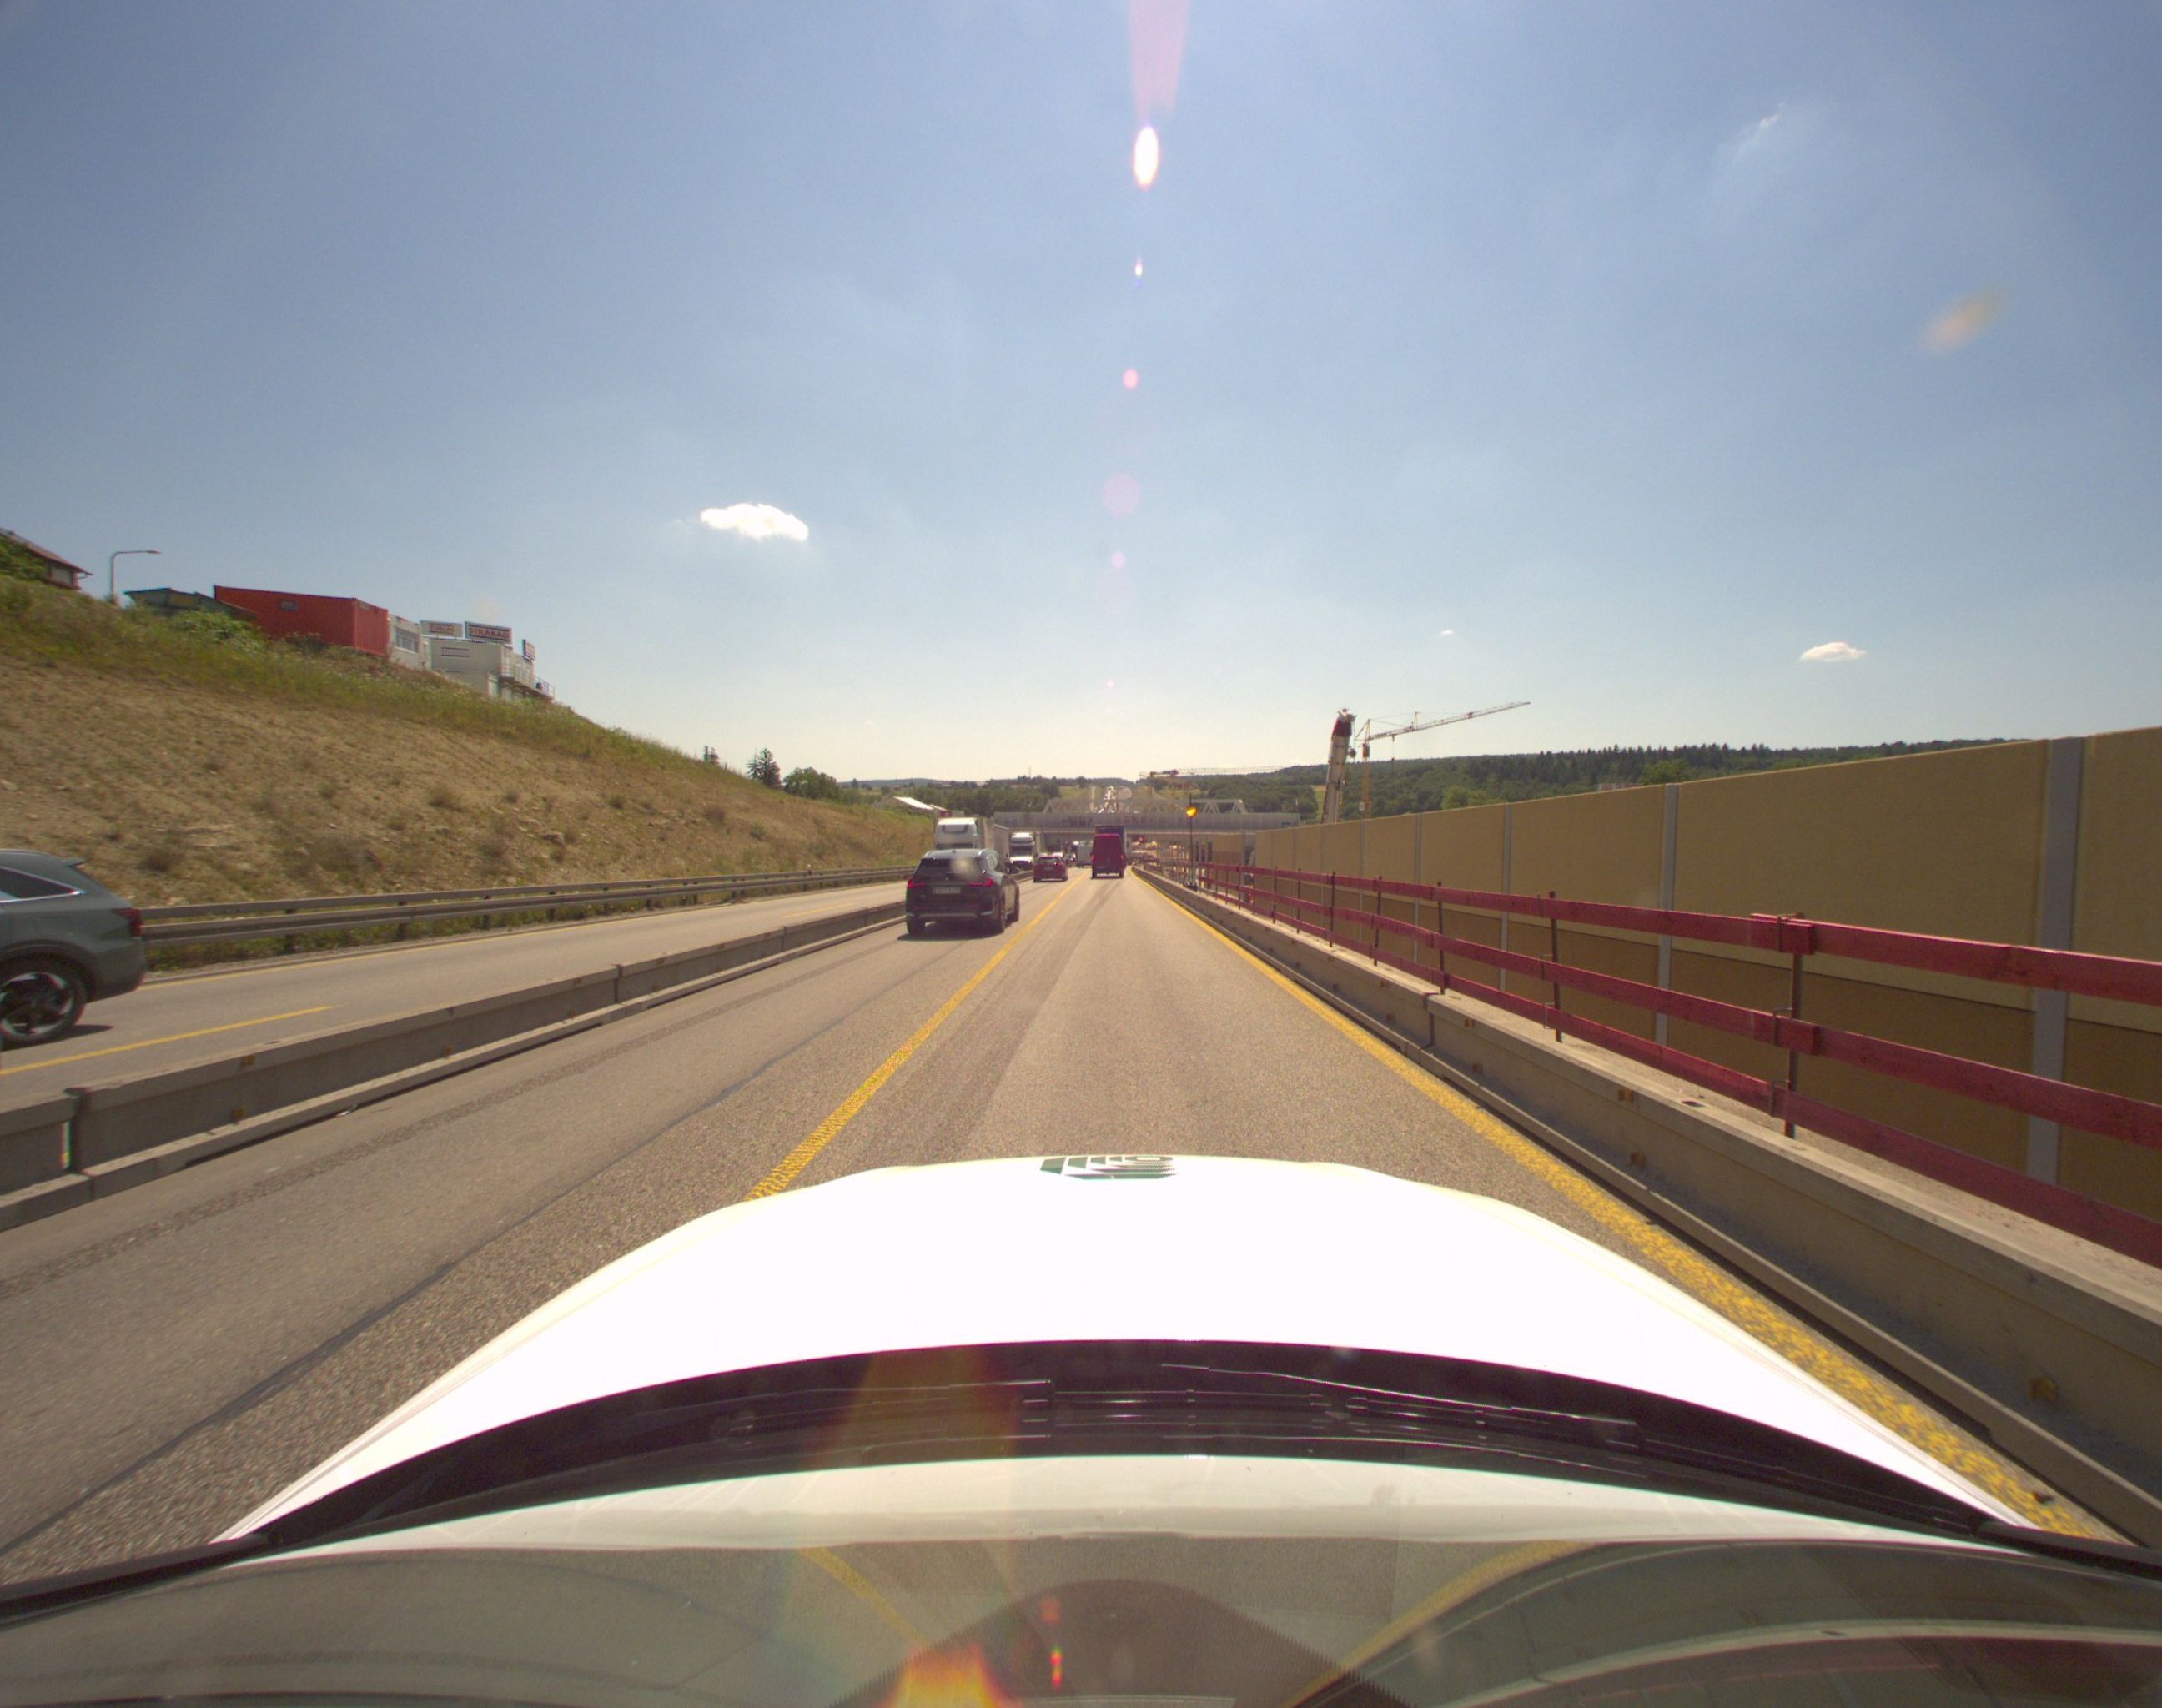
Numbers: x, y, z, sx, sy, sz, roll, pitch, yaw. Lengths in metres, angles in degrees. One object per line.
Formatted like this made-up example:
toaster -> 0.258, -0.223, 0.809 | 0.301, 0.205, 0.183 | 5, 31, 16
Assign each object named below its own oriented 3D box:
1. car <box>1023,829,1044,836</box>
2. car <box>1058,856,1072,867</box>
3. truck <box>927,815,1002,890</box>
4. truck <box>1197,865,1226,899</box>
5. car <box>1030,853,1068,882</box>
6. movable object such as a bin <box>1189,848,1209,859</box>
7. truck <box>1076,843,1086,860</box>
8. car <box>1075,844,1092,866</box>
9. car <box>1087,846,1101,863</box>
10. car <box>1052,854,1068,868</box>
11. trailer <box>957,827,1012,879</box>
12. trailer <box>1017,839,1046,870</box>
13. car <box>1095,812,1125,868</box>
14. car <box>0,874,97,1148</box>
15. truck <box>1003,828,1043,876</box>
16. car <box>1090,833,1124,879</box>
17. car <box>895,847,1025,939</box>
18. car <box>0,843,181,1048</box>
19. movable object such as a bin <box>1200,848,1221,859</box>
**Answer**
car -> -11.620, -5.273, 199.519 | 4.520, 1.783, 1.968 | 0, 0, 15
car -> -2.366, 1.098, 122.412 | 1.783, 1.611, 4.736 | 0, 0, 3
truck -> -5.657, -0.078, 40.555 | 2.529, 3.374, 7.040 | 0, 0, 1
truck -> 15.378, 3.242, 96.397 | 2.747, 3.886, 5.887 | 0, 0, 3
car -> -1.715, 0.726, 45.313 | 1.769, 1.517, 4.208 | -1, 0, 2
movable object such as a bin -> 30.714, -0.018, 211.616 | 5.118, 2.807, 2.147 | 0, 0, 7
truck -> 0.016, -0.566, 190.171 | 2.350, 4.015, 4.000 | 0, 0, 0
car -> 0.337, 0.123, 92.620 | 1.769, 2.441, 4.208 | -1, 0, 2
car -> 1.840, 0.036, 112.533 | 1.769, 2.330, 4.208 | -1, 0, 2
car -> -2.860, 0.966, 111.580 | 2.027, 1.823, 4.961 | 0, 0, 1
trailer -> -8.071, -0.132, 70.109 | 2.688, 4.024, 13.706 | 0, 0, 1
trailer -> -6.231, 0.065, 104.839 | 2.580, 3.801, 11.922 | 0, 0, 2
car -> 2.744, -1.254, 78.810 | 2.611, 5.032, 10.400 | -1, 0, 2
car -> -6.644, 0.849, 2.230 | 1.790, 1.427, 4.951 | -1, 0, 1
truck -> -4.766, -0.141, 67.987 | 2.580, 3.758, 7.361 | 0, 0, 1
car -> 1.612, 0.109, 50.981 | 1.981, 2.690, 4.625 | -1, 0, 2
car -> -2.339, 0.692, 16.957 | 1.873, 1.618, 4.501 | -1, 0, 2
car -> -9.749, 0.764, 5.591 | 1.847, 1.672, 4.670 | -1, 0, 1
movable object such as a bin -> 32.374, -0.039, 204.344 | 5.118, 2.807, 2.147 | 0, 0, 7
